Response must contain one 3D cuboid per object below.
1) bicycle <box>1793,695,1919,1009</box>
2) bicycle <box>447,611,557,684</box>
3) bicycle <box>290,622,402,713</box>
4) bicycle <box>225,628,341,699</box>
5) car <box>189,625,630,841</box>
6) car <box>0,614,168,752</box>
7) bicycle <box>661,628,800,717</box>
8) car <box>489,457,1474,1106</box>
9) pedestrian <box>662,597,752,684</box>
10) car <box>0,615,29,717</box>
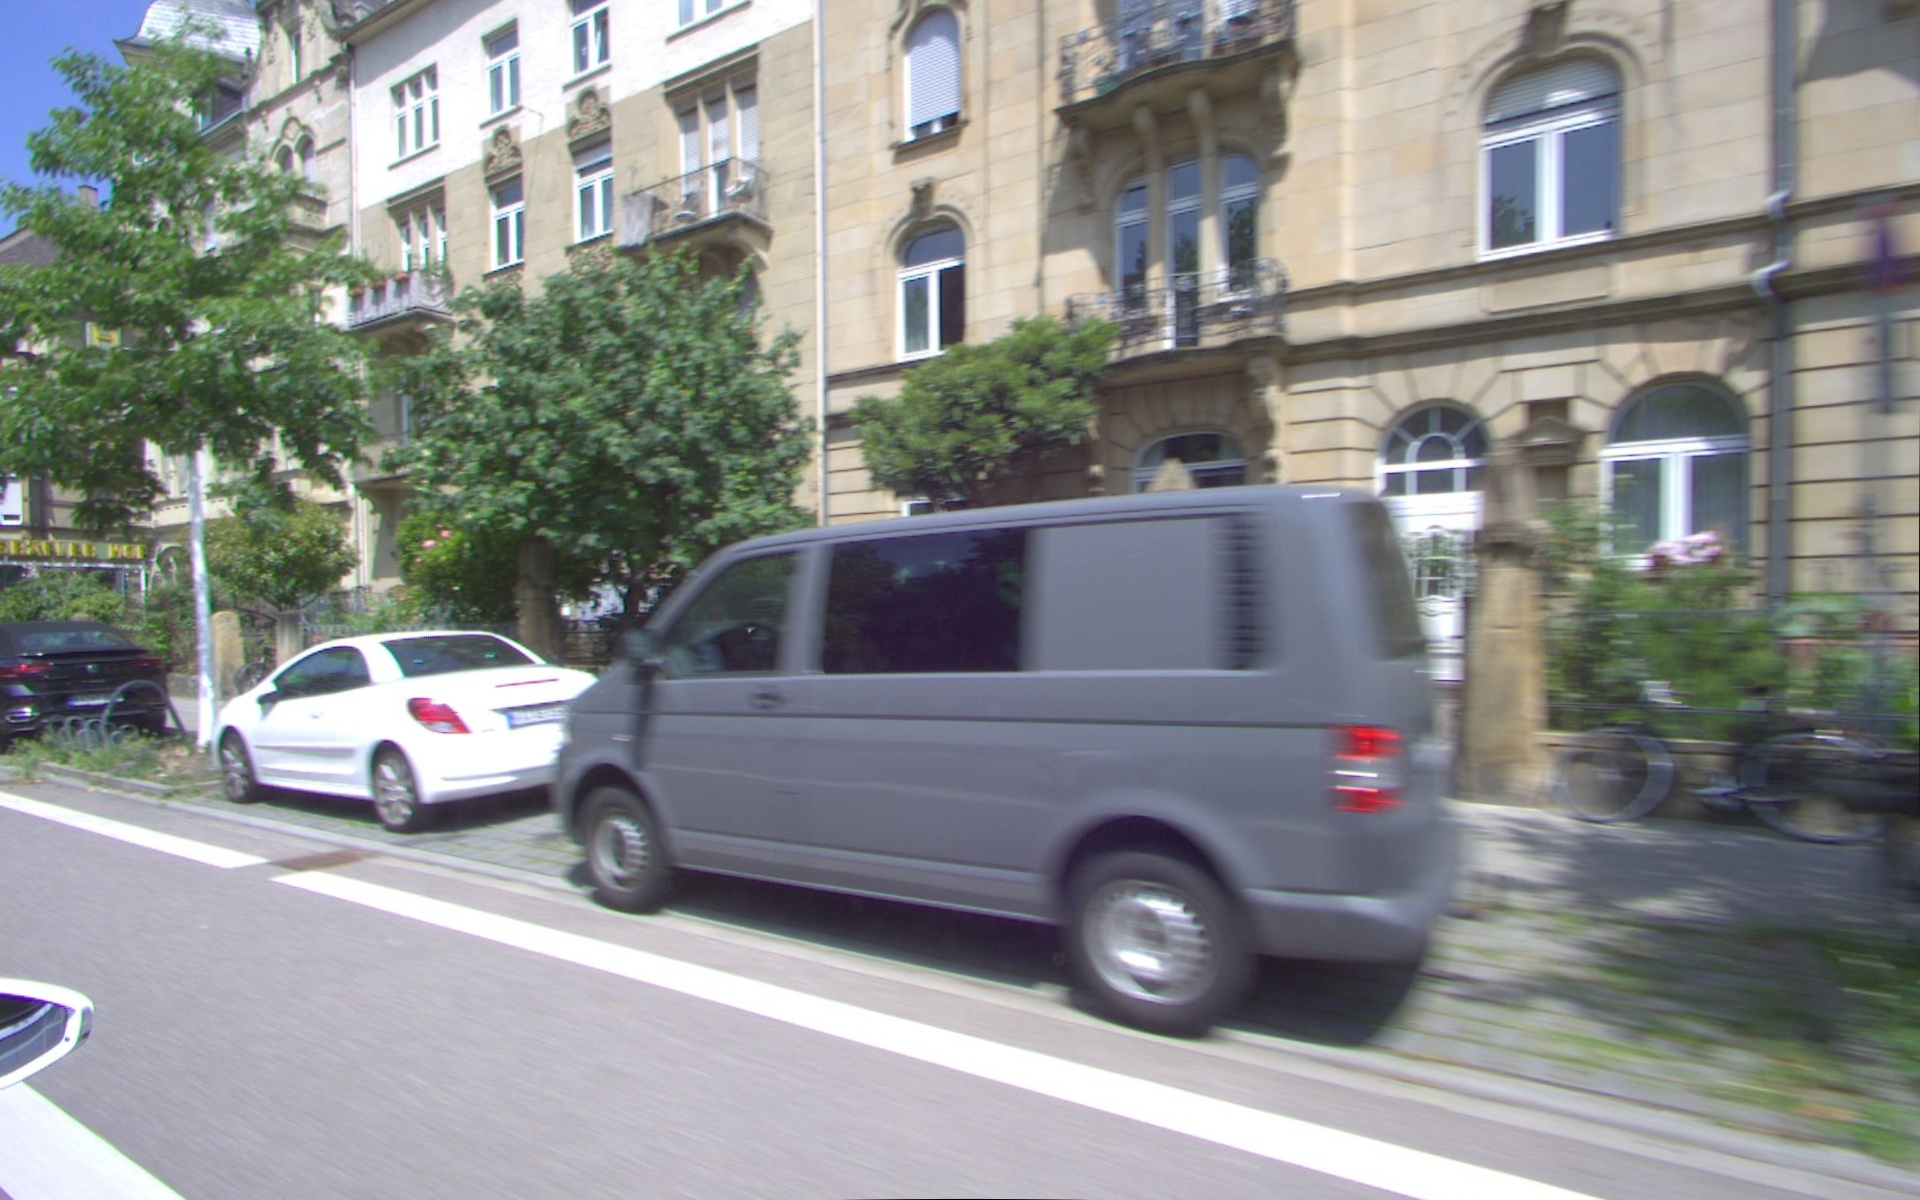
[{"bbox_3d":[3.588,0.908,3.529,0.462,1.004,1.882,0,-1,23],"label":"bicycle"},{"bbox_3d":[-9.024,0.903,19.664,2.651,1.350,0.563,0,1,31],"label":"bicycle"},{"bbox_3d":[-9.133,0.968,14.859,2.062,1.278,0.591,-1,-1,33],"label":"bicycle"},{"bbox_3d":[-12.260,1.122,18.192,0.338,1.091,1.684,0,4,32],"label":"bicycle"},{"bbox_3d":[-4.754,0.940,8.496,3.943,1.424,1.607,-1,-1,33],"label":"car"},{"bbox_3d":[-12.108,0.967,13.021,3.956,1.551,1.663,-1,0,33],"label":"car"},{"bbox_3d":[-2.470,0.747,10.694,1.612,0.891,0.439,-1,0,32],"label":"bicycle"},{"bbox_3d":[-0.125,0.572,5.124,4.768,1.974,1.874,-1,1,33],"label":"car"},{"bbox_3d":[-3.295,0.516,13.076,0.751,1.084,0.863,0,-1,36],"label":"pedestrian"},{"bbox_3d":[-16.733,1.017,15.957,4.341,1.556,1.726,-1,-1,32],"label":"car"}]
